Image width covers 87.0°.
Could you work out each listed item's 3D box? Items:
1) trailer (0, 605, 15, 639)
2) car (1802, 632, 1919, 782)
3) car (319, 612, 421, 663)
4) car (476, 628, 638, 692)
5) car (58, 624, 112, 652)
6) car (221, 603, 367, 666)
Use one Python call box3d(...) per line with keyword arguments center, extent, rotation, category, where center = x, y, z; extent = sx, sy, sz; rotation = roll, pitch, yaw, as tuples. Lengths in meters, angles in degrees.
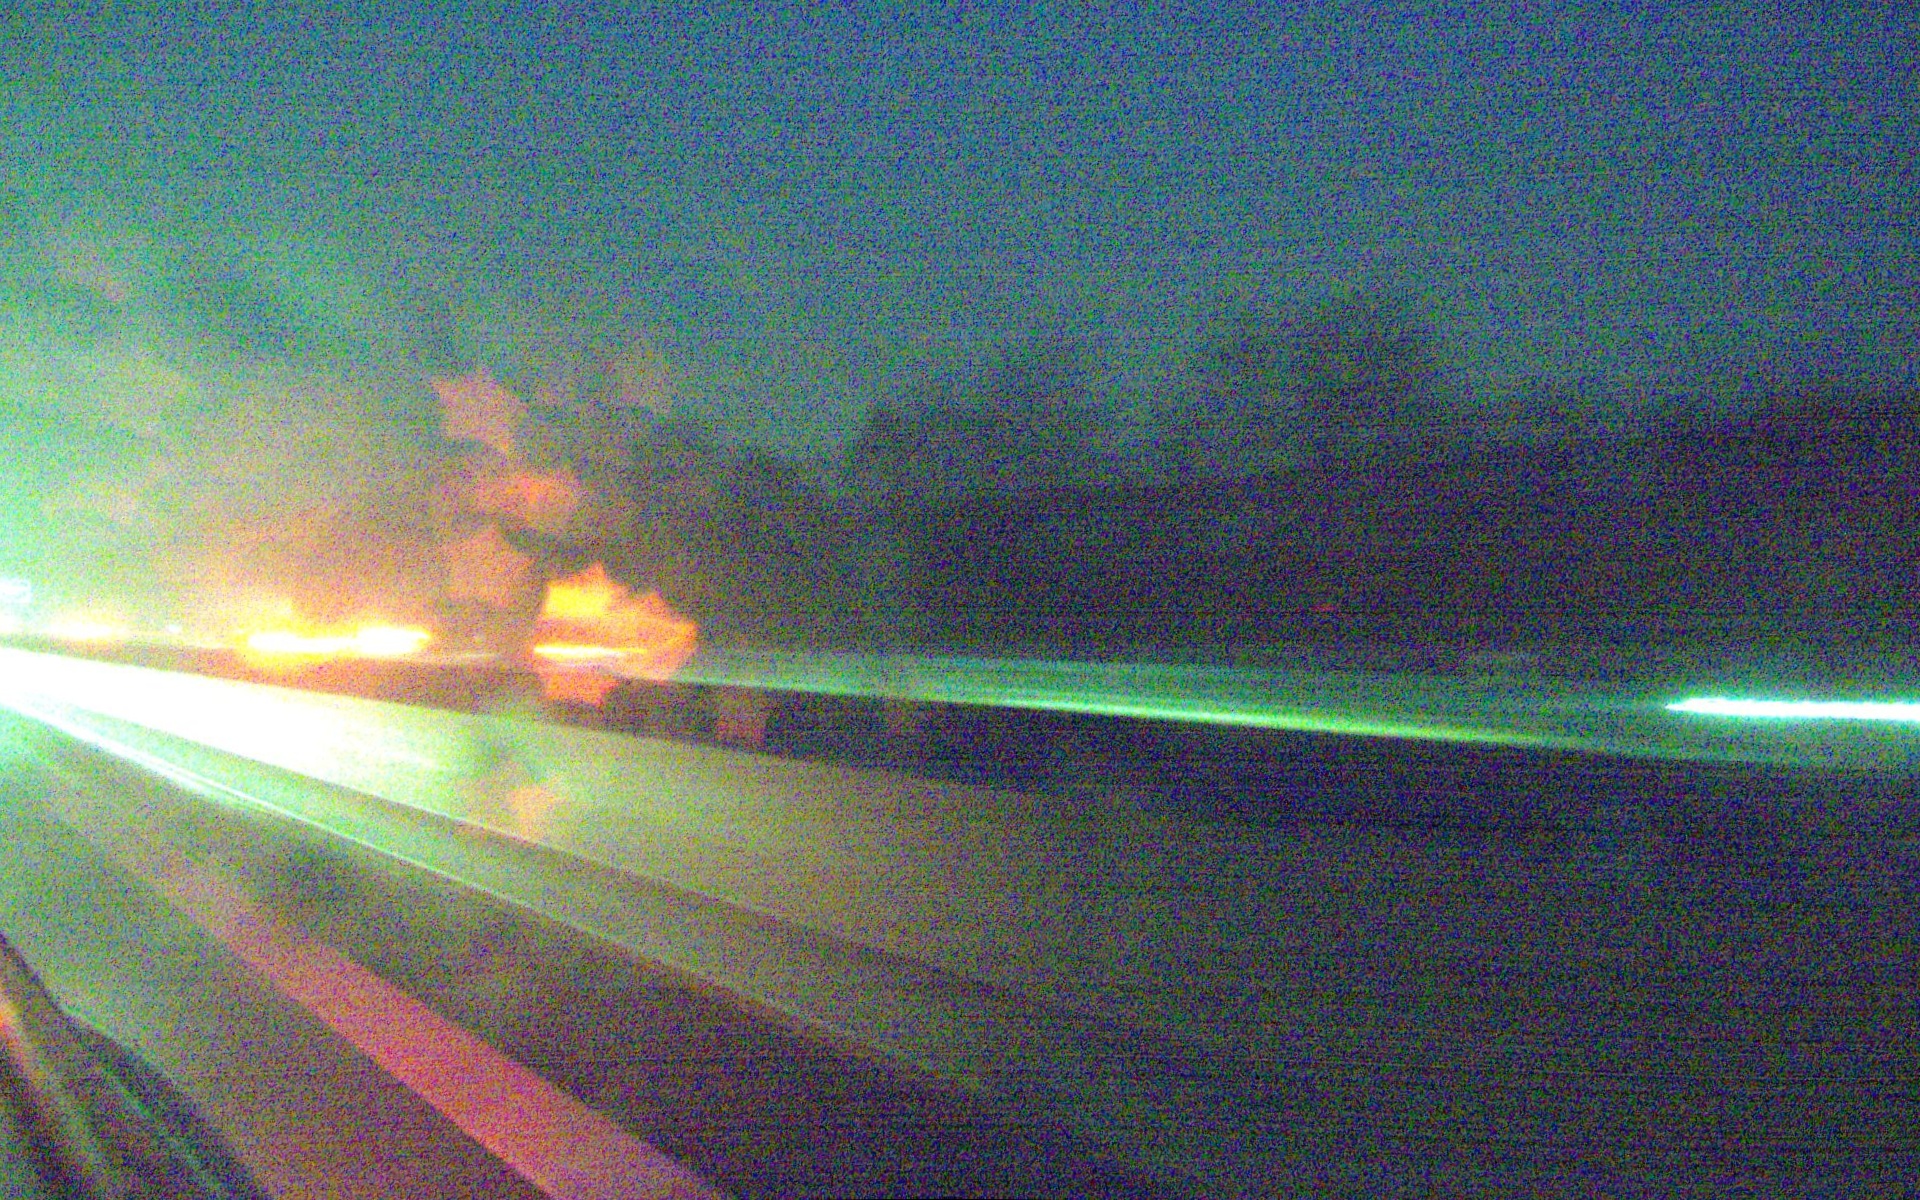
box3d(center=(-129.710, 2.989, 135.495), extent=(14.855, 4.299, 2.943), rotation=(-1, 2, 41), category="trailer")
box3d(center=(11.768, 1.119, 10.547), extent=(4.531, 1.571, 1.972), rotation=(-2, -2, 42), category="car")
box3d(center=(-25.059, 1.572, 42.924), extent=(5.354, 2.029, 1.974), rotation=(-1, -2, 39), category="car")
box3d(center=(-10.135, 1.441, 25.306), extent=(4.435, 1.451, 1.972), rotation=(-1, -2, 42), category="car")
box3d(center=(-57.960, 2.481, 67.008), extent=(5.233, 1.752, 1.973), rotation=(-1, 1, 41), category="car")
box3d(center=(-16.832, 0.859, 25.509), extent=(4.435, 1.451, 1.972), rotation=(-1, -2, 42), category="car")
